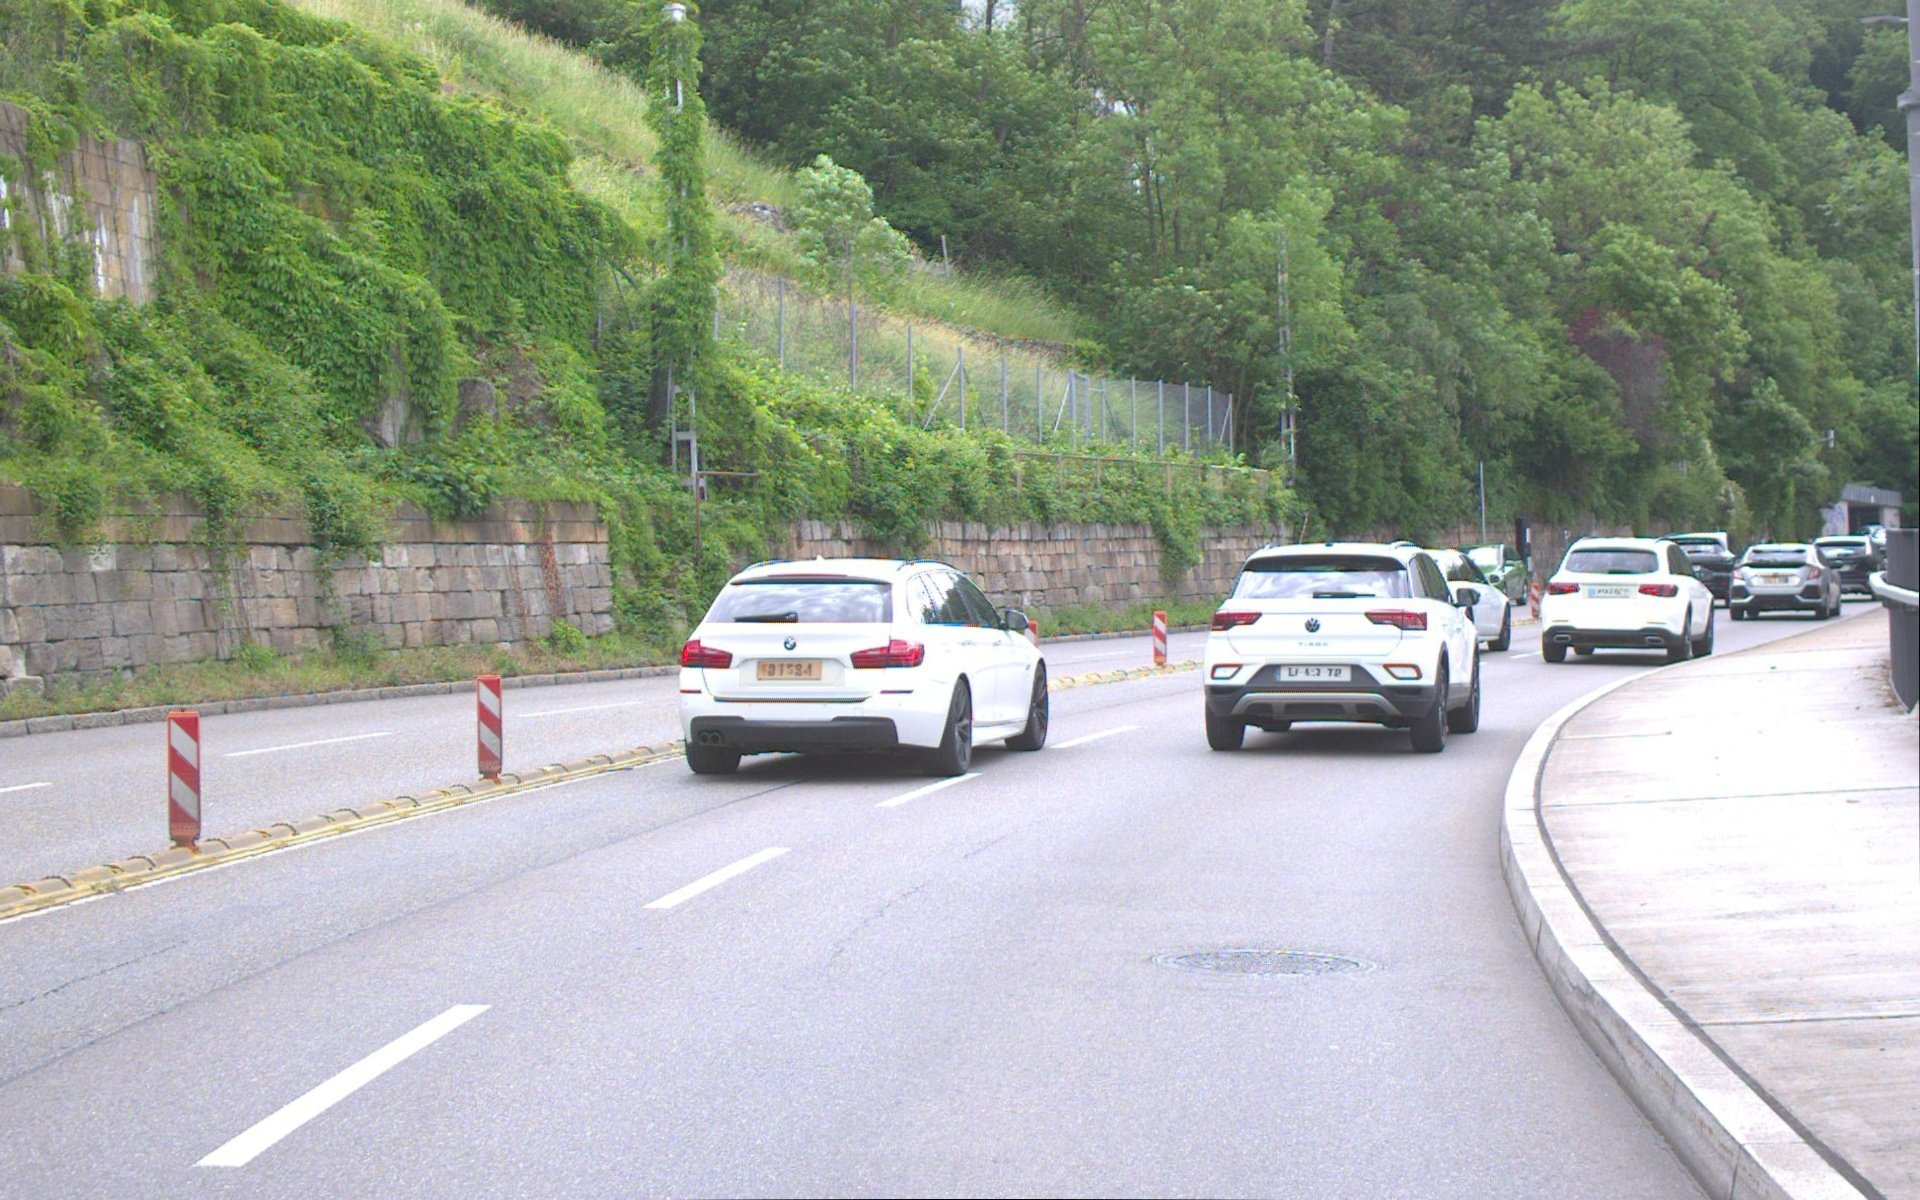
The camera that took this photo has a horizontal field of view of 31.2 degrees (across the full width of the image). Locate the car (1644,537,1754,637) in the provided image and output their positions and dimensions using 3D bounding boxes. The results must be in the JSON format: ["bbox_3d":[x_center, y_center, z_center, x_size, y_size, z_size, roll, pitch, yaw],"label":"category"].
[{"bbox_3d":[16.144,-0.304,74.978,1.995,2.007,3.997,-3,0,15],"label":"car"}]

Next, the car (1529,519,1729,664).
[{"bbox_3d":[8.915,-0.108,45.559,1.995,1.712,4.110,-4,-1,18],"label":"car"}]

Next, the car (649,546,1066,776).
[{"bbox_3d":[-0.605,0.352,24.276,1.829,1.454,4.483,0,1,14],"label":"car"}]

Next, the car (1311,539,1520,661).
[{"bbox_3d":[6.312,-0.044,47.212,1.995,1.498,4.663,3,2,17],"label":"car"}]

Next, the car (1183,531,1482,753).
[{"bbox_3d":[2.987,0.299,26.872,1.829,1.600,3.997,0,0,14],"label":"car"}]

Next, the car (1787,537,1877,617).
[{"bbox_3d":[19.851,-0.541,78.169,1.746,1.775,3.531,0,1,18],"label":"car"}]

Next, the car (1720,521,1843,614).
[{"bbox_3d":[15.559,-0.616,65.001,1.995,1.711,3.997,0,1,18],"label":"car"}]

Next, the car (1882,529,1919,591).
[{"bbox_3d":[29.568,-1.236,106.062,1.995,1.853,3.997,0,1,18],"label":"car"}]
